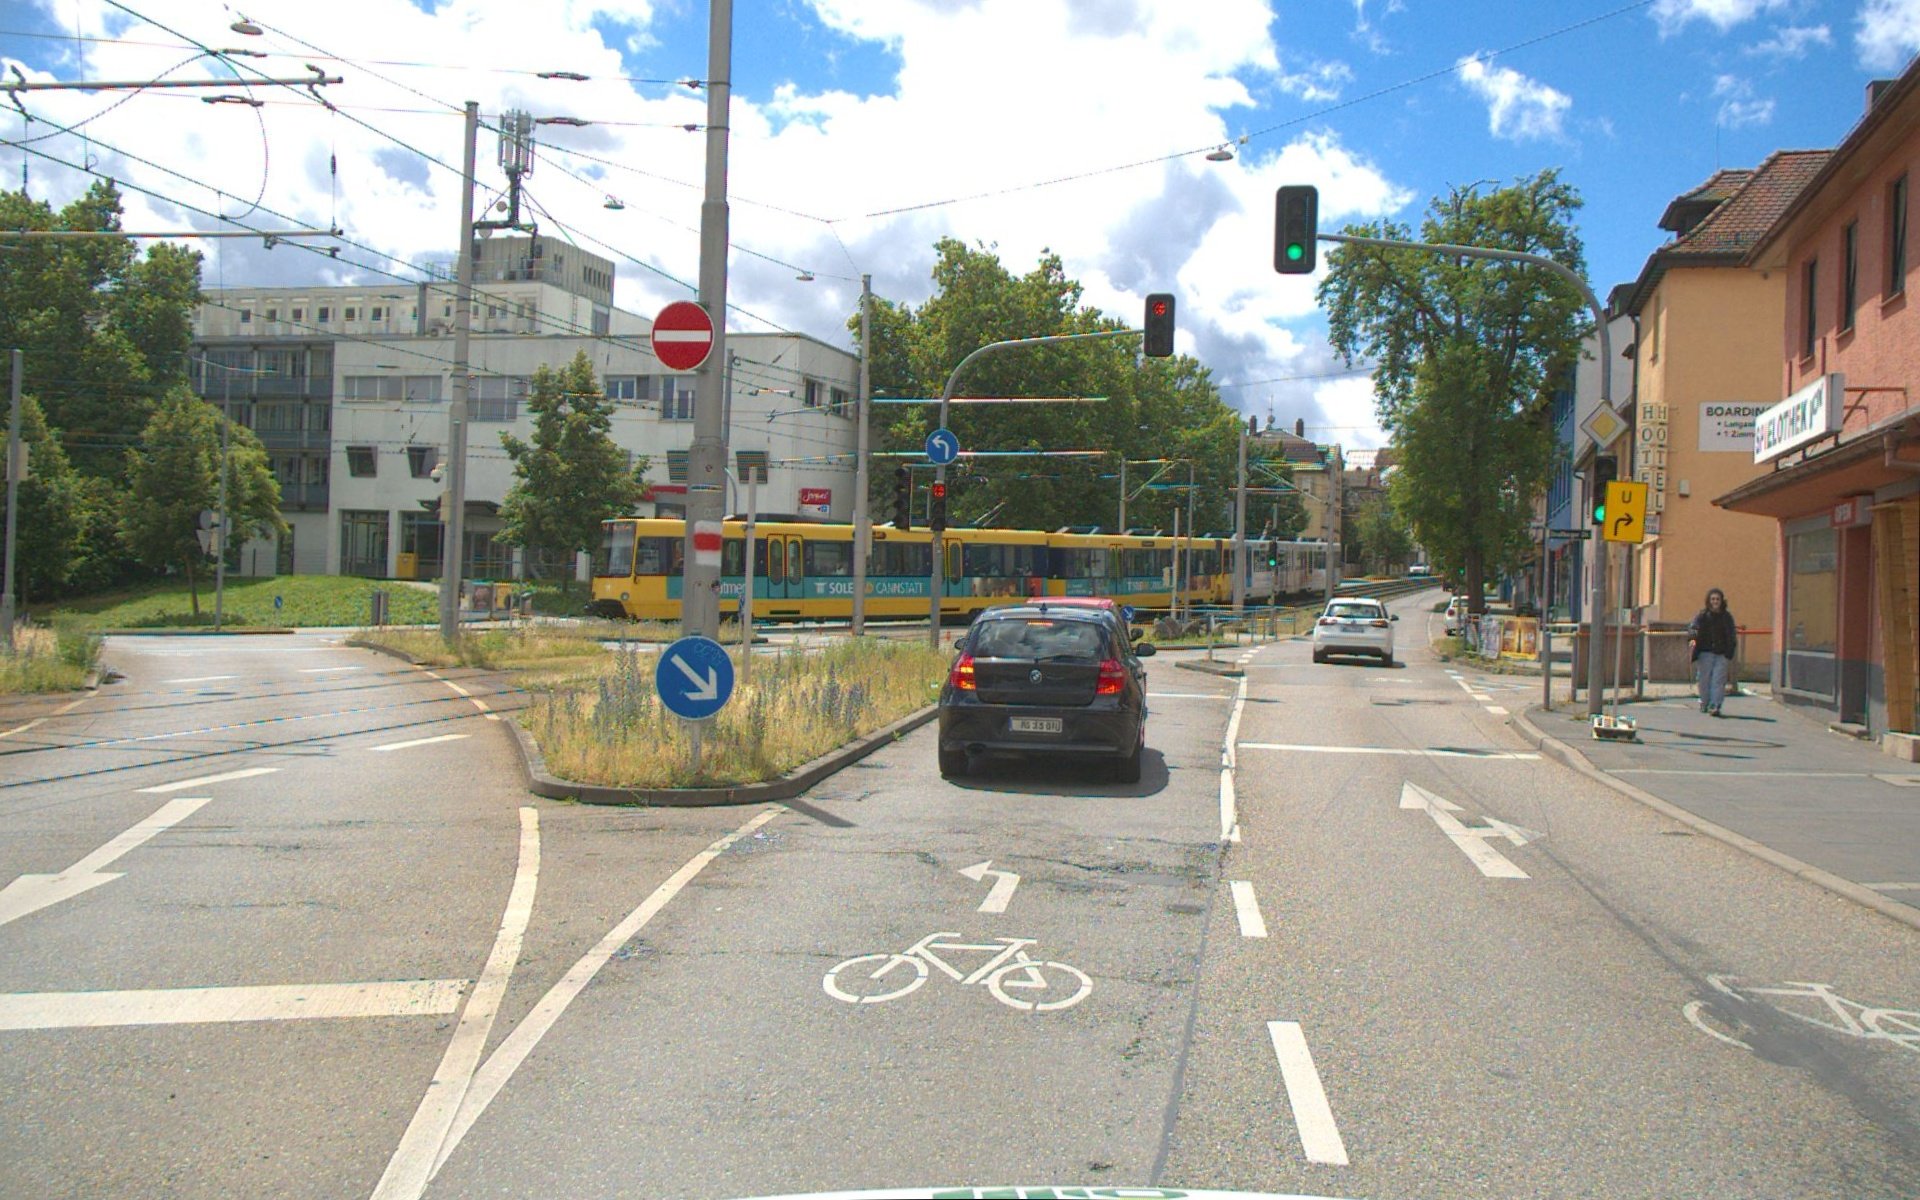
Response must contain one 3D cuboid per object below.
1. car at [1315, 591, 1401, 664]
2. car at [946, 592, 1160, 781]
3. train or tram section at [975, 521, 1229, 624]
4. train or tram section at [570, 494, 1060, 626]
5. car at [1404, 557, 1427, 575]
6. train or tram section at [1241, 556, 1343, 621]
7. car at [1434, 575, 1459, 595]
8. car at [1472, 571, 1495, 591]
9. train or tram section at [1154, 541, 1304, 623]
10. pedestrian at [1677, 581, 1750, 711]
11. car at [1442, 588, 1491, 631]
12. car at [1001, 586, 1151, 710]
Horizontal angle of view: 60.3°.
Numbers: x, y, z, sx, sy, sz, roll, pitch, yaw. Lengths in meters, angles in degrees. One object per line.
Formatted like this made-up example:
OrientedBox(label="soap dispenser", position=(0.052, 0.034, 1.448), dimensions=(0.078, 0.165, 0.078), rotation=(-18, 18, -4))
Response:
OrientedBox(label="car", position=(9.273, 0.594, 38.561), dimensions=(1.777, 1.494, 4.003), rotation=(4, 1, 14))
OrientedBox(label="car", position=(0.772, 0.694, 14.925), dimensions=(1.666, 1.477, 4.000), rotation=(0, -1, 1))
OrientedBox(label="train or tram section", position=(6.807, -0.934, 72.145), dimensions=(3.677, 3.896, 20.122), rotation=(0, -1, 27))
OrientedBox(label="train or tram section", position=(-4.303, -1.116, 57.589), dimensions=(18.739, 3.988, 3.703), rotation=(1, -1, -43))
OrientedBox(label="car", position=(53.467, -3.962, 194.206), dimensions=(1.954, 2.049, 3.997), rotation=(0, -1, 25))
OrientedBox(label="train or tram section", position=(22.124, -0.601, 108.738), dimensions=(3.671, 3.881, 20.054), rotation=(0, -1, 20))
OrientedBox(label="car", position=(39.304, -1.164, 133.493), dimensions=(1.777, 1.494, 4.002), rotation=(3, 1, 18))
OrientedBox(label="car", position=(50.875, -1.838, 160.790), dimensions=(2.078, 1.890, 3.739), rotation=(1, 1, 18))
OrientedBox(label="train or tram section", position=(15.081, -0.769, 90.237), dimensions=(3.672, 3.947, 20.632), rotation=(0, -1, 22))
OrientedBox(label="pedestrian", position=(9.920, 0.592, 21.794), dimensions=(0.748, 1.671, 0.778), rotation=(0, 1, 15))
OrientedBox(label="car", position=(19.606, 0.385, 64.049), dimensions=(1.749, 1.624, 4.002), rotation=(0, -1, 17))
OrientedBox(label="car", position=(1.631, 0.599, 22.012), dimensions=(1.590, 1.499, 4.003), rotation=(0, -1, 10))
